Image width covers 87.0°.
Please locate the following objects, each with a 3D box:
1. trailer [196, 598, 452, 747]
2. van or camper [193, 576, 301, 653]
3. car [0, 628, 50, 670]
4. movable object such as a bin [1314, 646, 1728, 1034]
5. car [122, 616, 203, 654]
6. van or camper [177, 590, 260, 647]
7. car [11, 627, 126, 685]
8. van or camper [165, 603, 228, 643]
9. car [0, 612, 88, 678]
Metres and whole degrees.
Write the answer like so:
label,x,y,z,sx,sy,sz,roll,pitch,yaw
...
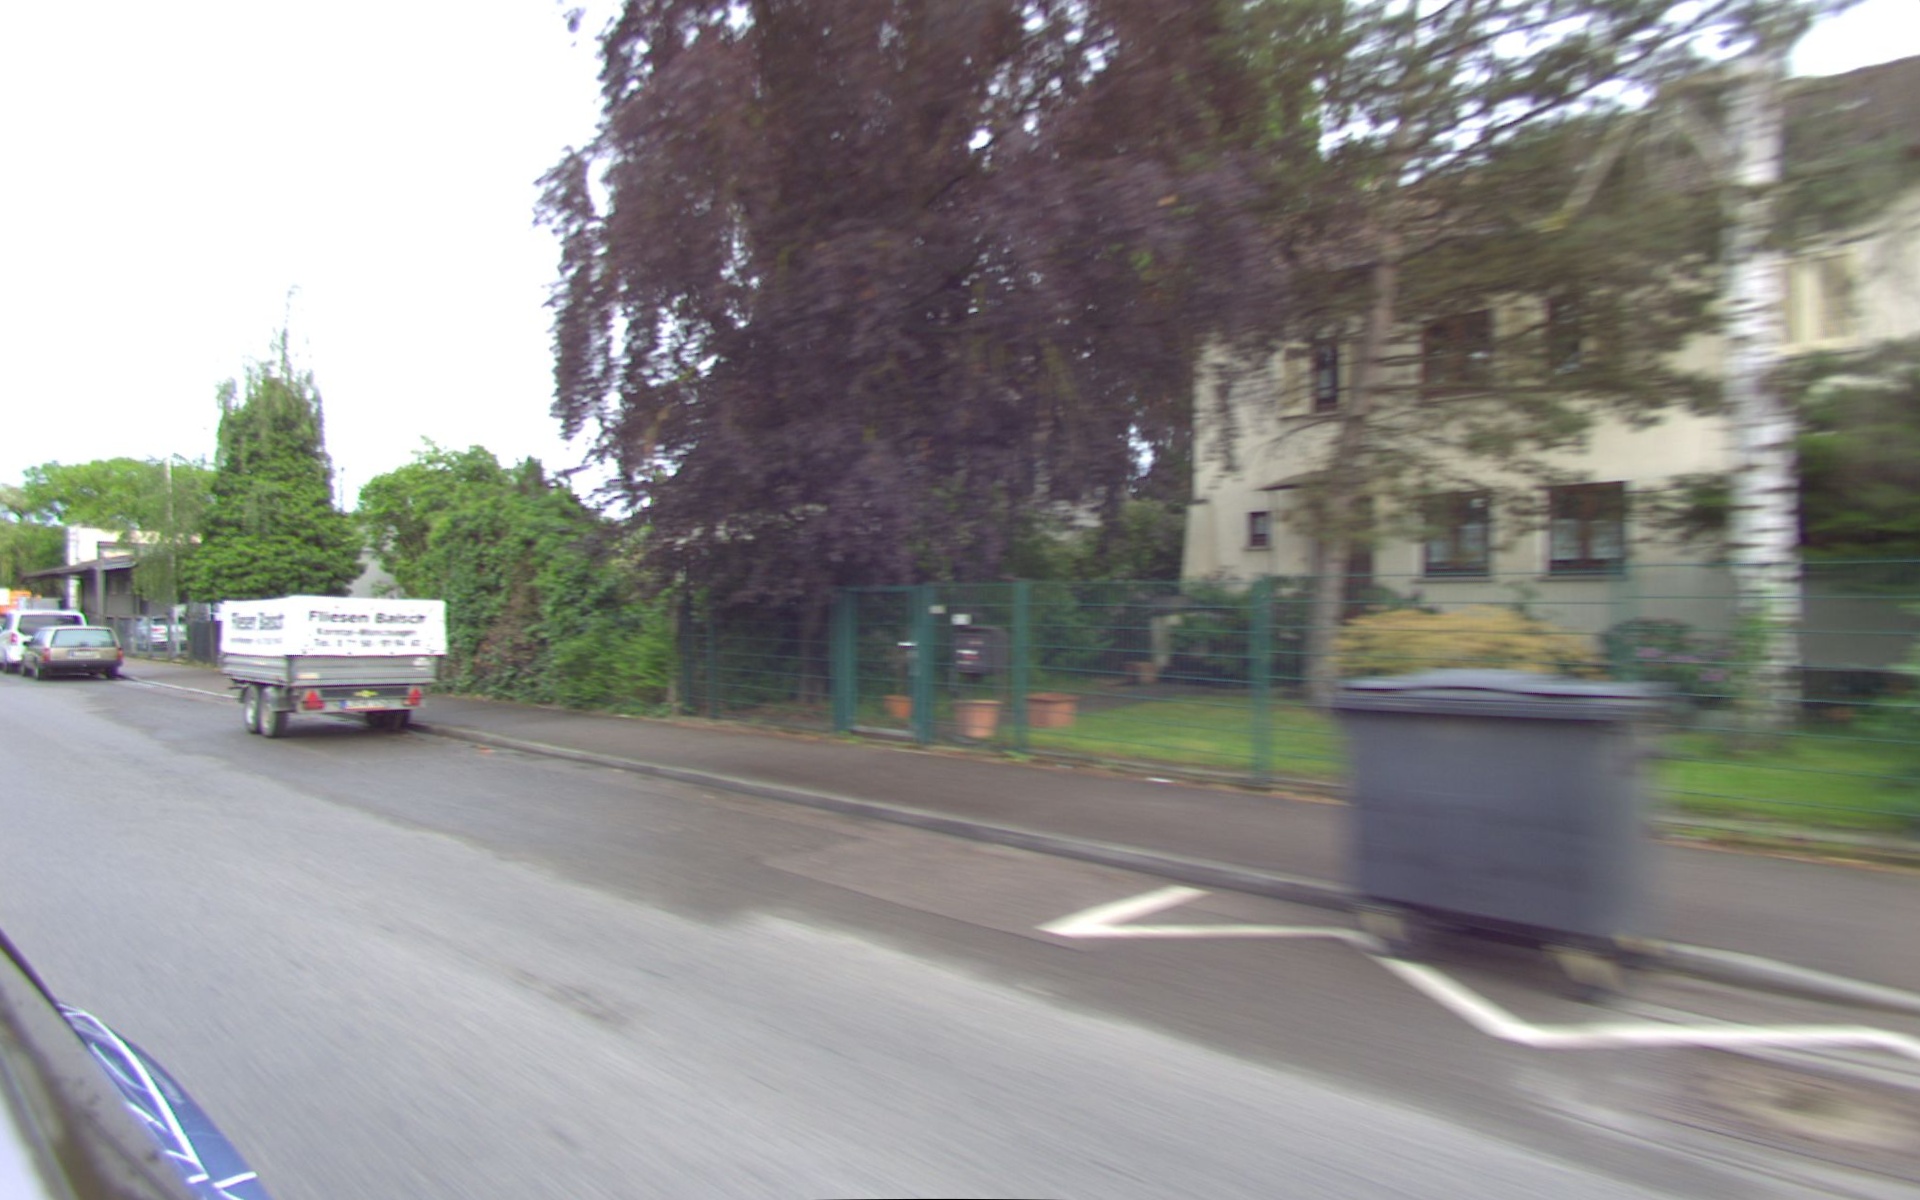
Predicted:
label,x,y,z,sx,sy,sz,roll,pitch,yaw
trailer,-9.180,0.910,14.451,4.546,1.779,1.909,-1,0,42
van or camper,-30.697,0.604,43.486,6.147,3.058,2.280,-1,1,41
car,-33.443,1.674,35.582,4.705,1.375,1.621,-1,-2,42
movable object such as a bin,2.516,0.913,4.557,1.424,1.320,1.089,-1,0,41
car,-33.954,1.440,43.036,4.785,1.451,1.810,-1,1,41
van or camper,-35.055,0.850,47.783,5.194,2.509,1.973,-1,1,41
car,-24.733,1.495,28.020,4.979,1.438,1.797,-1,-2,42
van or camper,-39.823,1.195,52.742,4.374,1.950,1.901,-1,1,43
car,-28.868,1.342,31.557,5.208,1.906,1.873,-1,-2,42
